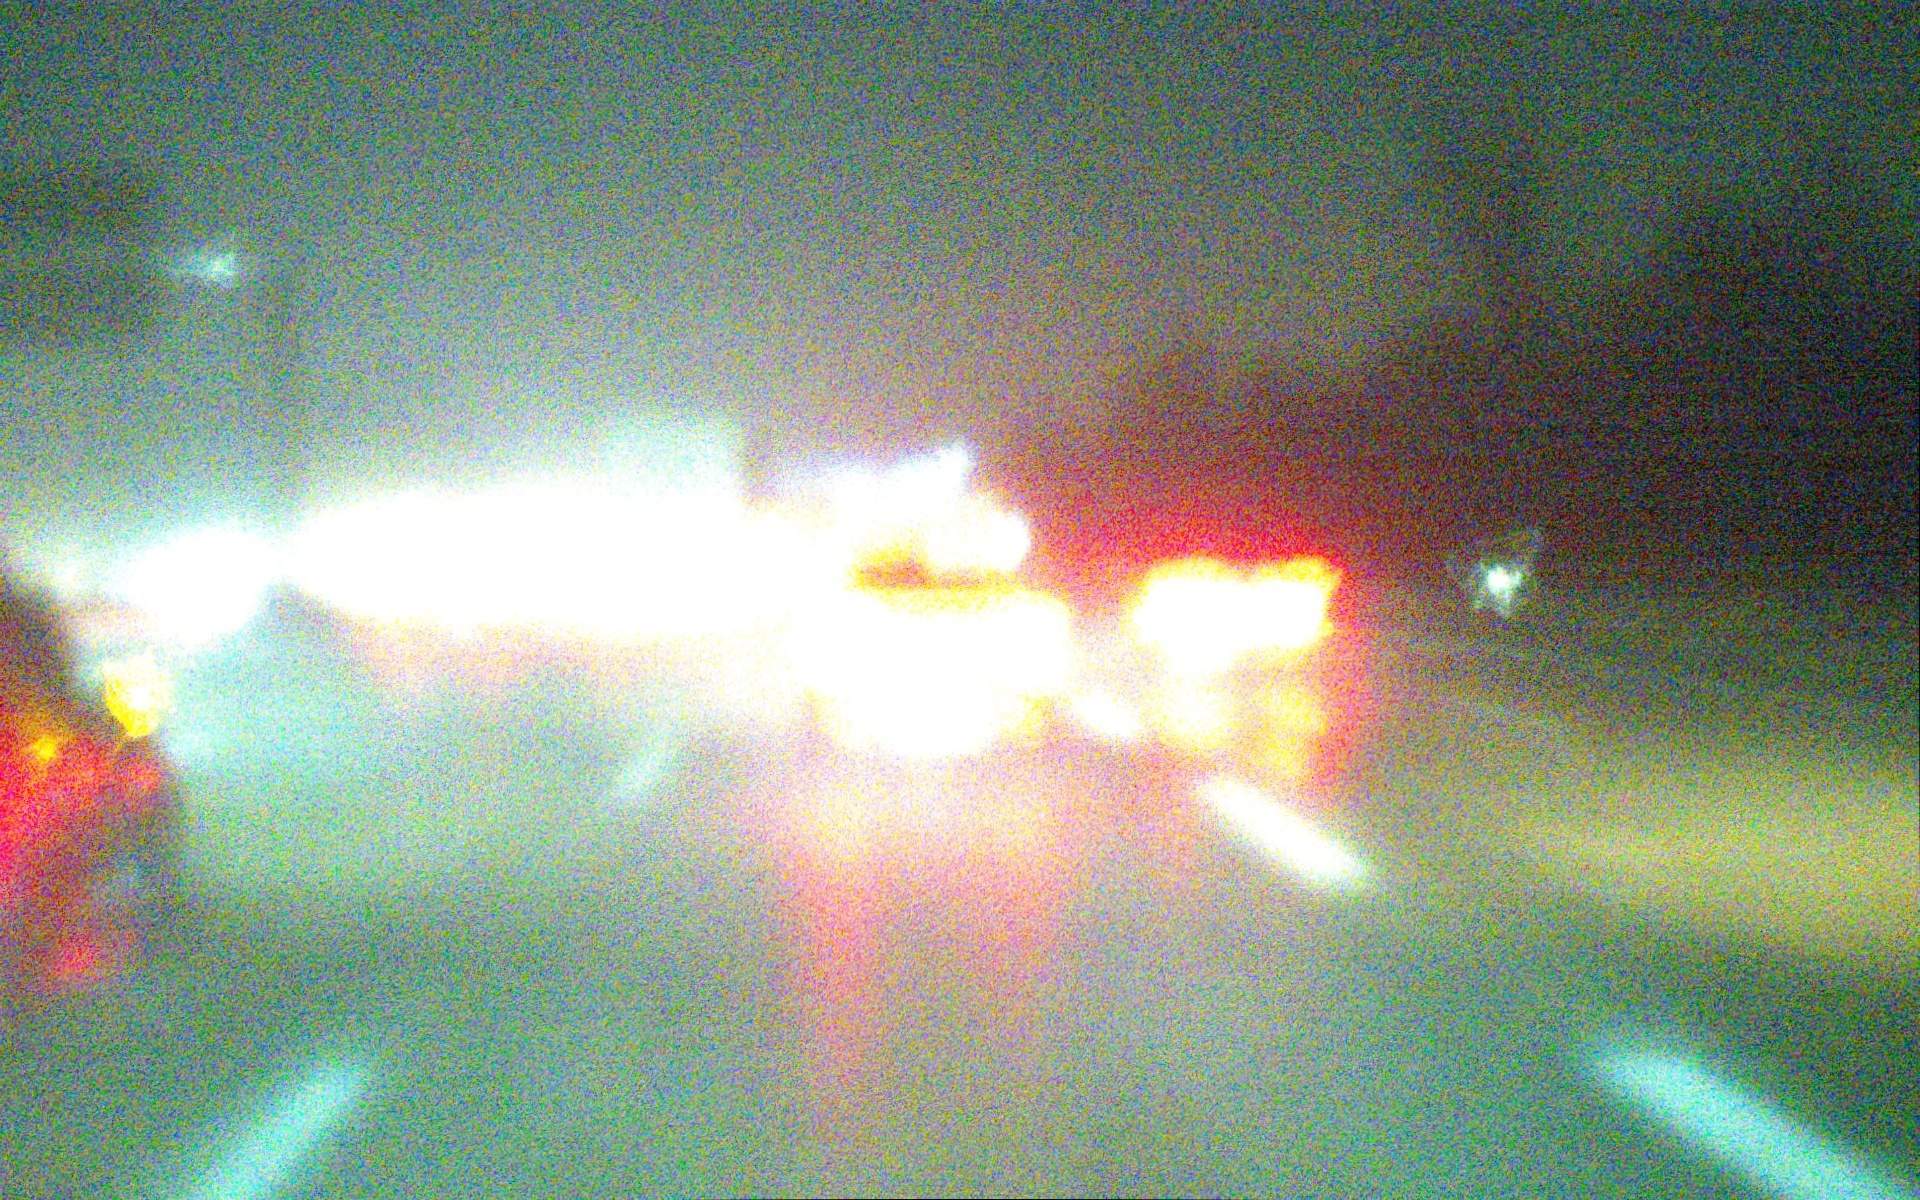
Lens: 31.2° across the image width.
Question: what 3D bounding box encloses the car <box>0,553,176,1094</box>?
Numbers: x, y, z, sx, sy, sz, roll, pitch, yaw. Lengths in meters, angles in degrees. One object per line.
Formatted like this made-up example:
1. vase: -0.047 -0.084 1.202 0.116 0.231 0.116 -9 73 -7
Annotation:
1. car: -3.639 0.578 11.178 1.656 1.426 4.247 0 1 -6

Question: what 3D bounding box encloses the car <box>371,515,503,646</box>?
1. car: -9.469 -0.357 62.529 2.263 2.265 5.387 0 0 -8

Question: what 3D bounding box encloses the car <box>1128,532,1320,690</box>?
1. car: 3.049 0.107 40.435 1.878 1.756 4.000 1 0 -1

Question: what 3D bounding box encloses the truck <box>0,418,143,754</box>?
1. truck: -7.886 -0.126 25.017 2.857 2.193 5.859 0 0 -4

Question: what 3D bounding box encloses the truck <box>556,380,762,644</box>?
1. truck: -5.905 -1.623 66.930 3.655 4.721 9.854 0 0 -6

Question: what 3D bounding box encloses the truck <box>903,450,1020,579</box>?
1. truck: -0.007 -3.502 144.150 4.161 5.197 9.955 0 0 -4

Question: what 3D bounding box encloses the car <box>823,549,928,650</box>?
1. car: -1.548 -0.026 61.874 1.765 1.756 4.000 0 0 -3

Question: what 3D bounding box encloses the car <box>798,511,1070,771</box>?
1. car: -0.197 0.222 24.305 1.765 1.683 4.000 0 1 -1

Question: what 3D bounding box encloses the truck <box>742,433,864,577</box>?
1. truck: -6.088 -3.646 135.676 4.254 5.425 10.884 1 0 0
